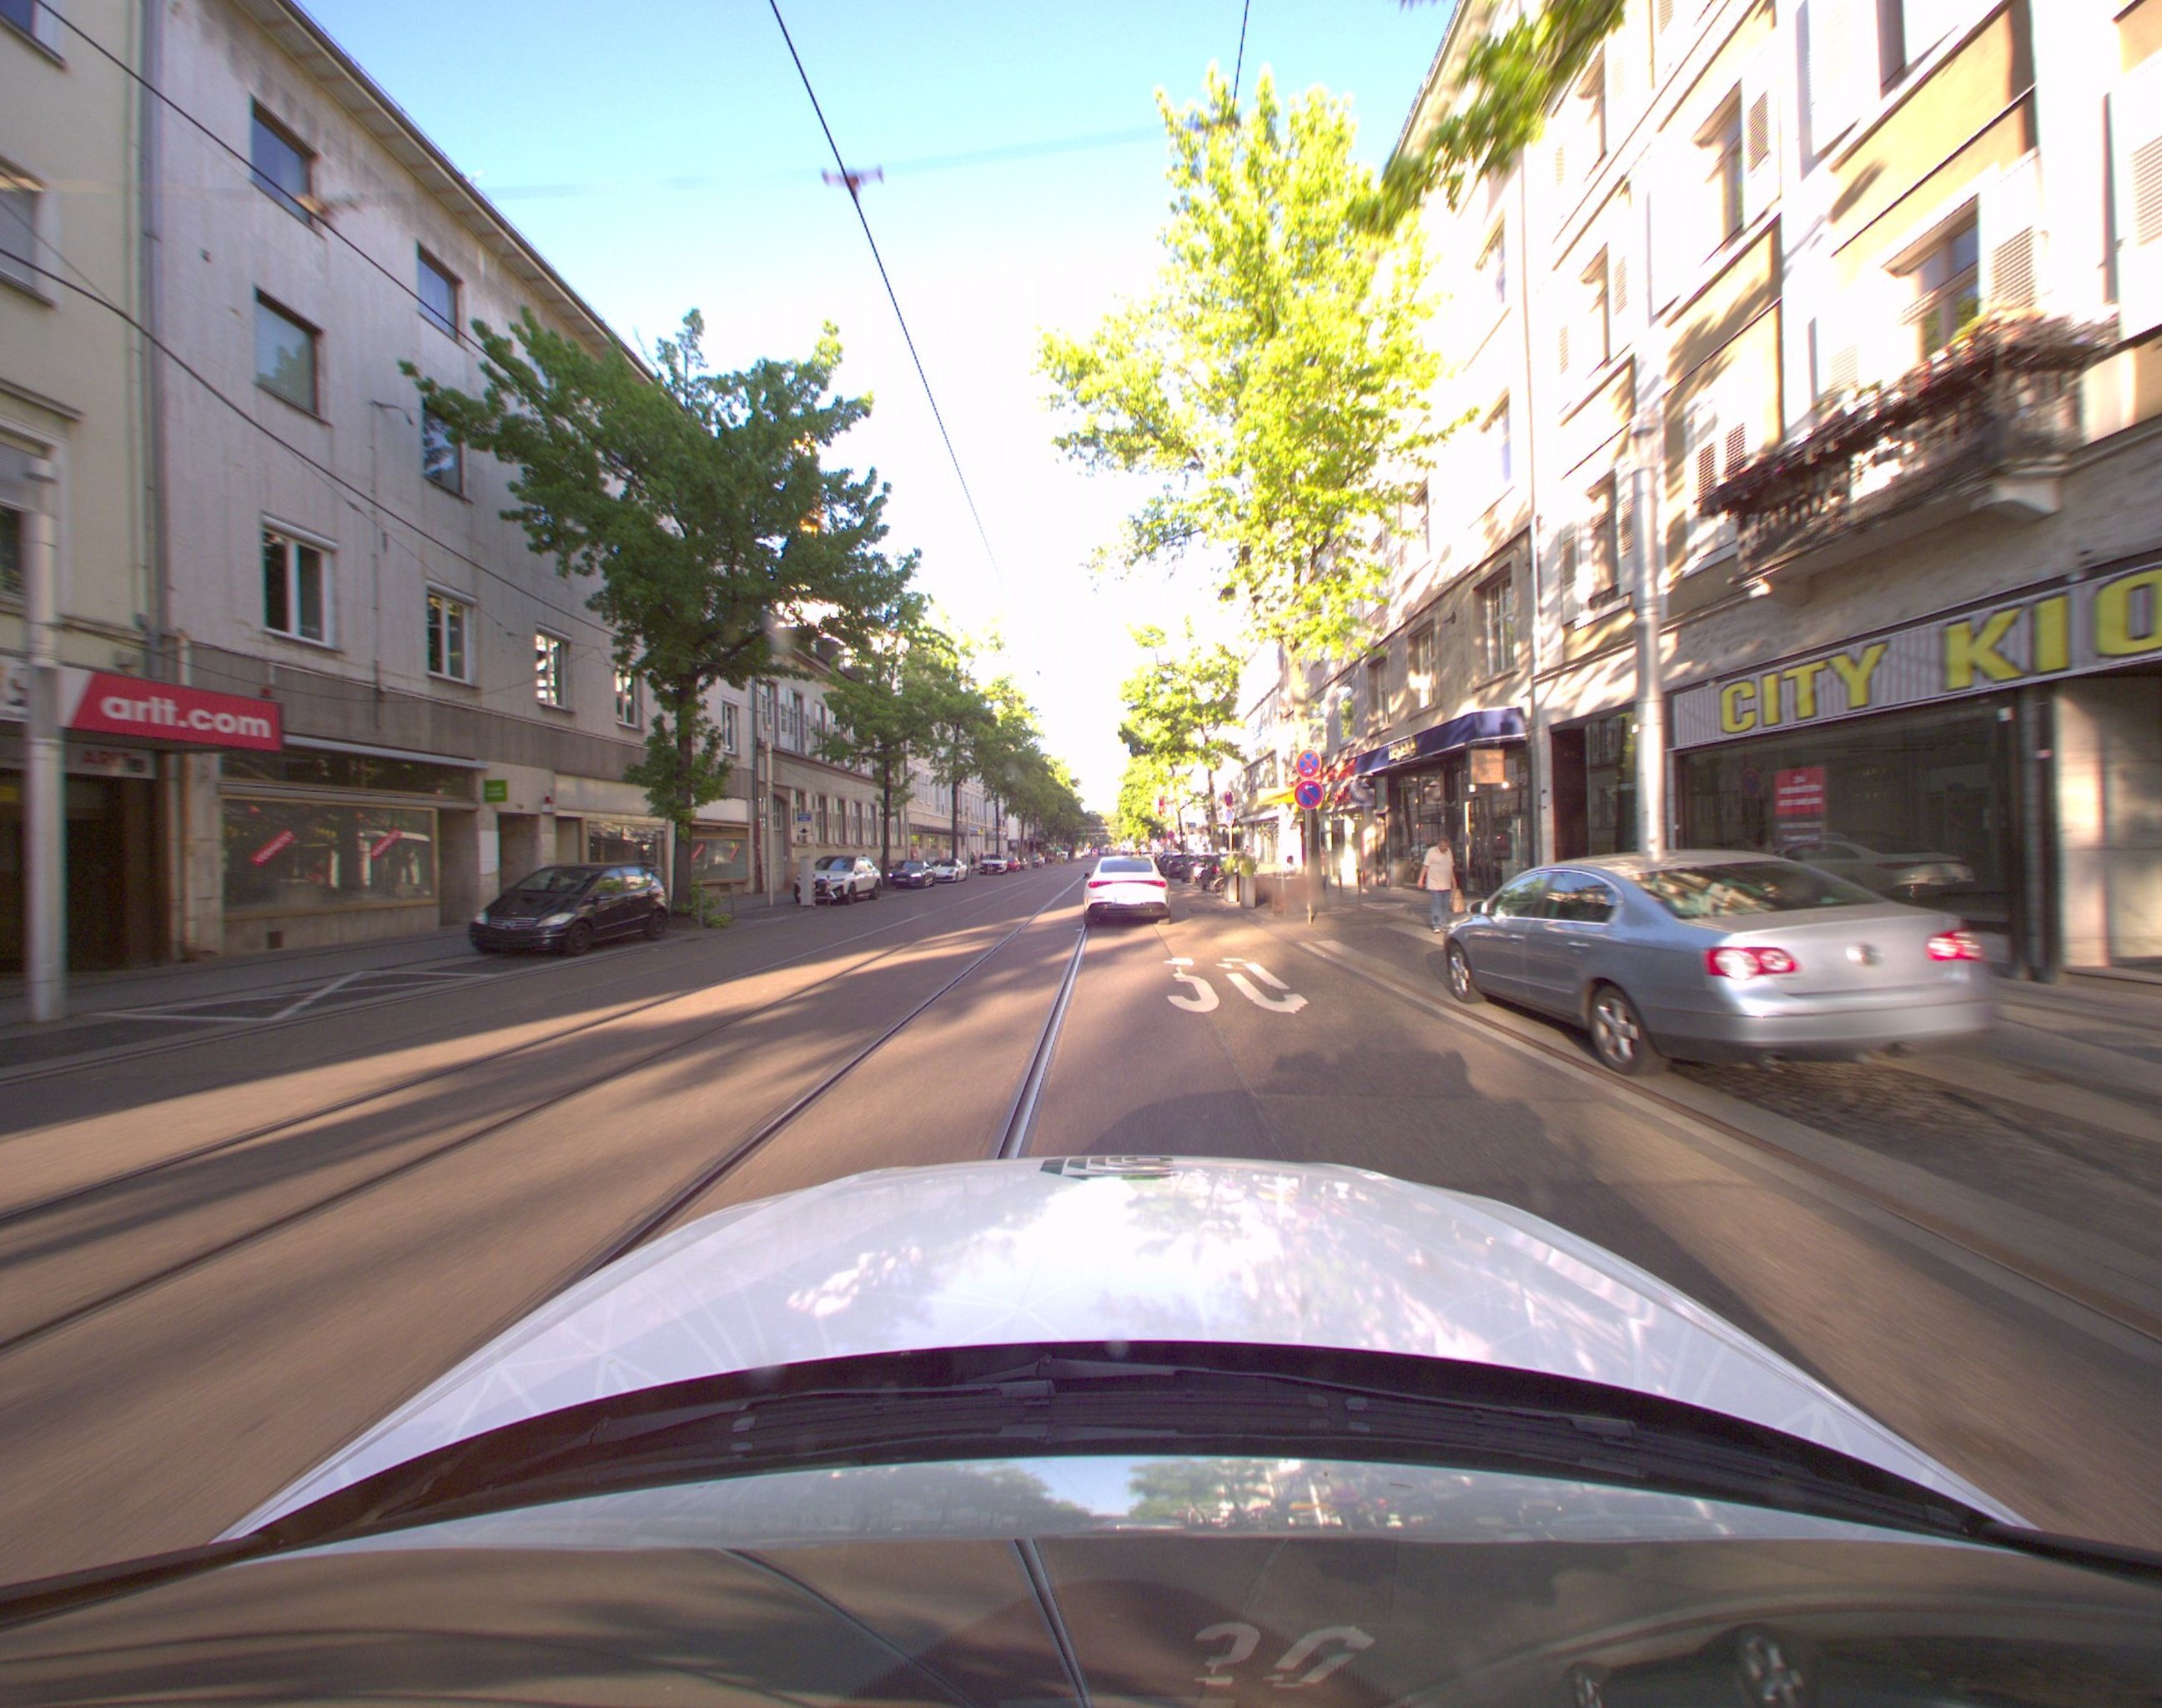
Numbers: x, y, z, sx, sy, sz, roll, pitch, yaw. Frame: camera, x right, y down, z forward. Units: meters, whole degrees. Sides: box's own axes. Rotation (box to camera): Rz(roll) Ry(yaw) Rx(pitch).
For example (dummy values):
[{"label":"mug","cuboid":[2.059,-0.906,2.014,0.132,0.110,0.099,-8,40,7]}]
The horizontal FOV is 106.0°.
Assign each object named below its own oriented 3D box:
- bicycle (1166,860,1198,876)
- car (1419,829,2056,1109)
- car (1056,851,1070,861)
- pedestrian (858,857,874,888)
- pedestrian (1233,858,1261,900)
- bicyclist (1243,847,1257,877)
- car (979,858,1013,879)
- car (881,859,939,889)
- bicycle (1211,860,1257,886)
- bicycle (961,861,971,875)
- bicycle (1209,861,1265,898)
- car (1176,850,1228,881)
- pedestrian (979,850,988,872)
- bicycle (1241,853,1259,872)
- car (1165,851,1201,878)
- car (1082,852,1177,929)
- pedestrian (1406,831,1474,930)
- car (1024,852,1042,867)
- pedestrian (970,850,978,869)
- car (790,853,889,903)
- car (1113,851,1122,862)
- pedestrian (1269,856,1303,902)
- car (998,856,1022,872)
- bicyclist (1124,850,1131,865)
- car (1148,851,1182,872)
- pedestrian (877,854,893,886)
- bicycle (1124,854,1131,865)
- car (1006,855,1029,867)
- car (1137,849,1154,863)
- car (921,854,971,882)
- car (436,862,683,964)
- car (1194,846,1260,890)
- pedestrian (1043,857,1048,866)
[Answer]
[{"label":"bicycle","cuboid":[6.501,0.906,52.393,2.026,0.964,0.282,-1,0,7]},{"label":"car","cuboid":[4.538,0.663,6.725,1.769,1.440,4.425,-4,-1,3]},{"label":"car","cuboid":[-3.584,0.352,162.143,1.981,2.013,4.012,-1,0,10]},{"label":"pedestrian","cuboid":[-11.666,0.991,44.219,0.672,1.680,0.648,-1,0,2]},{"label":"pedestrian","cuboid":[5.195,0.771,25.494,0.813,1.265,0.587,-1,0,7]},{"label":"bicyclist","cuboid":[9.664,0.436,46.702,0.636,1.684,0.600,-2,0,0]},{"label":"car","cuboid":[-7.023,1.159,67.802,1.953,1.692,5.017,0,0,3]},{"label":"car","cuboid":[-8.611,0.961,41.534,1.956,1.412,4.845,0,0,0]},{"label":"bicycle","cuboid":[6.753,0.812,35.934,1.854,1.074,0.710,-2,0,-8]},{"label":"bicycle","cuboid":[-8.735,1.078,61.889,0.592,1.050,2.005,-1,0,-5]},{"label":"bicycle","cuboid":[5.232,0.854,27.325,1.711,1.139,0.549,-3,-1,22]},{"label":"car","cuboid":[5.967,0.560,40.620,1.810,1.486,3.996,0,0,-3]},{"label":"pedestrian","cuboid":[-9.008,0.639,75.062,0.705,2.004,0.675,-1,0,-2]},{"label":"bicycle","cuboid":[9.661,0.467,46.635,0.645,1.074,1.861,-2,0,1]},{"label":"car","cuboid":[6.023,0.607,48.387,1.862,1.453,4.111,-3,0,4]},{"label":"car","cuboid":[1.052,0.753,18.434,1.861,1.469,4.044,-2,-1,2]},{"label":"pedestrian","cuboid":[6.186,0.444,14.075,0.800,1.643,0.756,-2,0,2]},{"label":"car","cuboid":[-5.849,0.617,99.472,1.543,1.796,3.176,-1,0,11]},{"label":"pedestrian","cuboid":[-9.856,0.508,75.158,0.706,1.806,0.675,-1,0,-3]},{"label":"car","cuboid":[-8.822,0.843,30.205,1.954,1.640,4.815,2,0,3]},{"label":"car","cuboid":[9.280,0.641,205.796,1.989,2.541,3.996,-1,-1,-3]},{"label":"pedestrian","cuboid":[6.405,0.761,25.460,0.712,1.387,0.739,-1,0,-36]},{"label":"car","cuboid":[-6.725,0.967,77.817,1.681,1.499,4.237,0,0,3]},{"label":"bicyclist","cuboid":[5.084,0.385,89.008,0.722,1.702,0.811,-1,-1,3]},{"label":"car","cuboid":[6.164,0.549,60.440,1.834,1.436,3.994,-1,0,-4]},{"label":"pedestrian","cuboid":[-10.614,0.847,44.064,0.683,1.721,0.656,0,-1,2]},{"label":"bicycle","cuboid":[5.092,0.645,89.017,0.737,1.188,2.162,-1,-1,3]},{"label":"car","cuboid":[-6.743,0.718,86.440,1.986,1.292,4.002,-1,0,2]},{"label":"car","cuboid":[8.122,0.222,102.926,1.985,1.728,4.243,-1,0,2]},{"label":"car","cuboid":[-8.140,0.824,49.483,1.938,1.640,4.914,0,0,4]},{"label":"car","cuboid":[-9.786,1.012,15.739,1.953,1.640,4.003,2,0,3]},{"label":"car","cuboid":[5.557,0.521,31.426,1.795,1.458,3.654,-4,-1,0]},{"label":"pedestrian","cuboid":[-5.679,1.143,129.207,0.564,1.464,0.653,-1,0,21]}]
